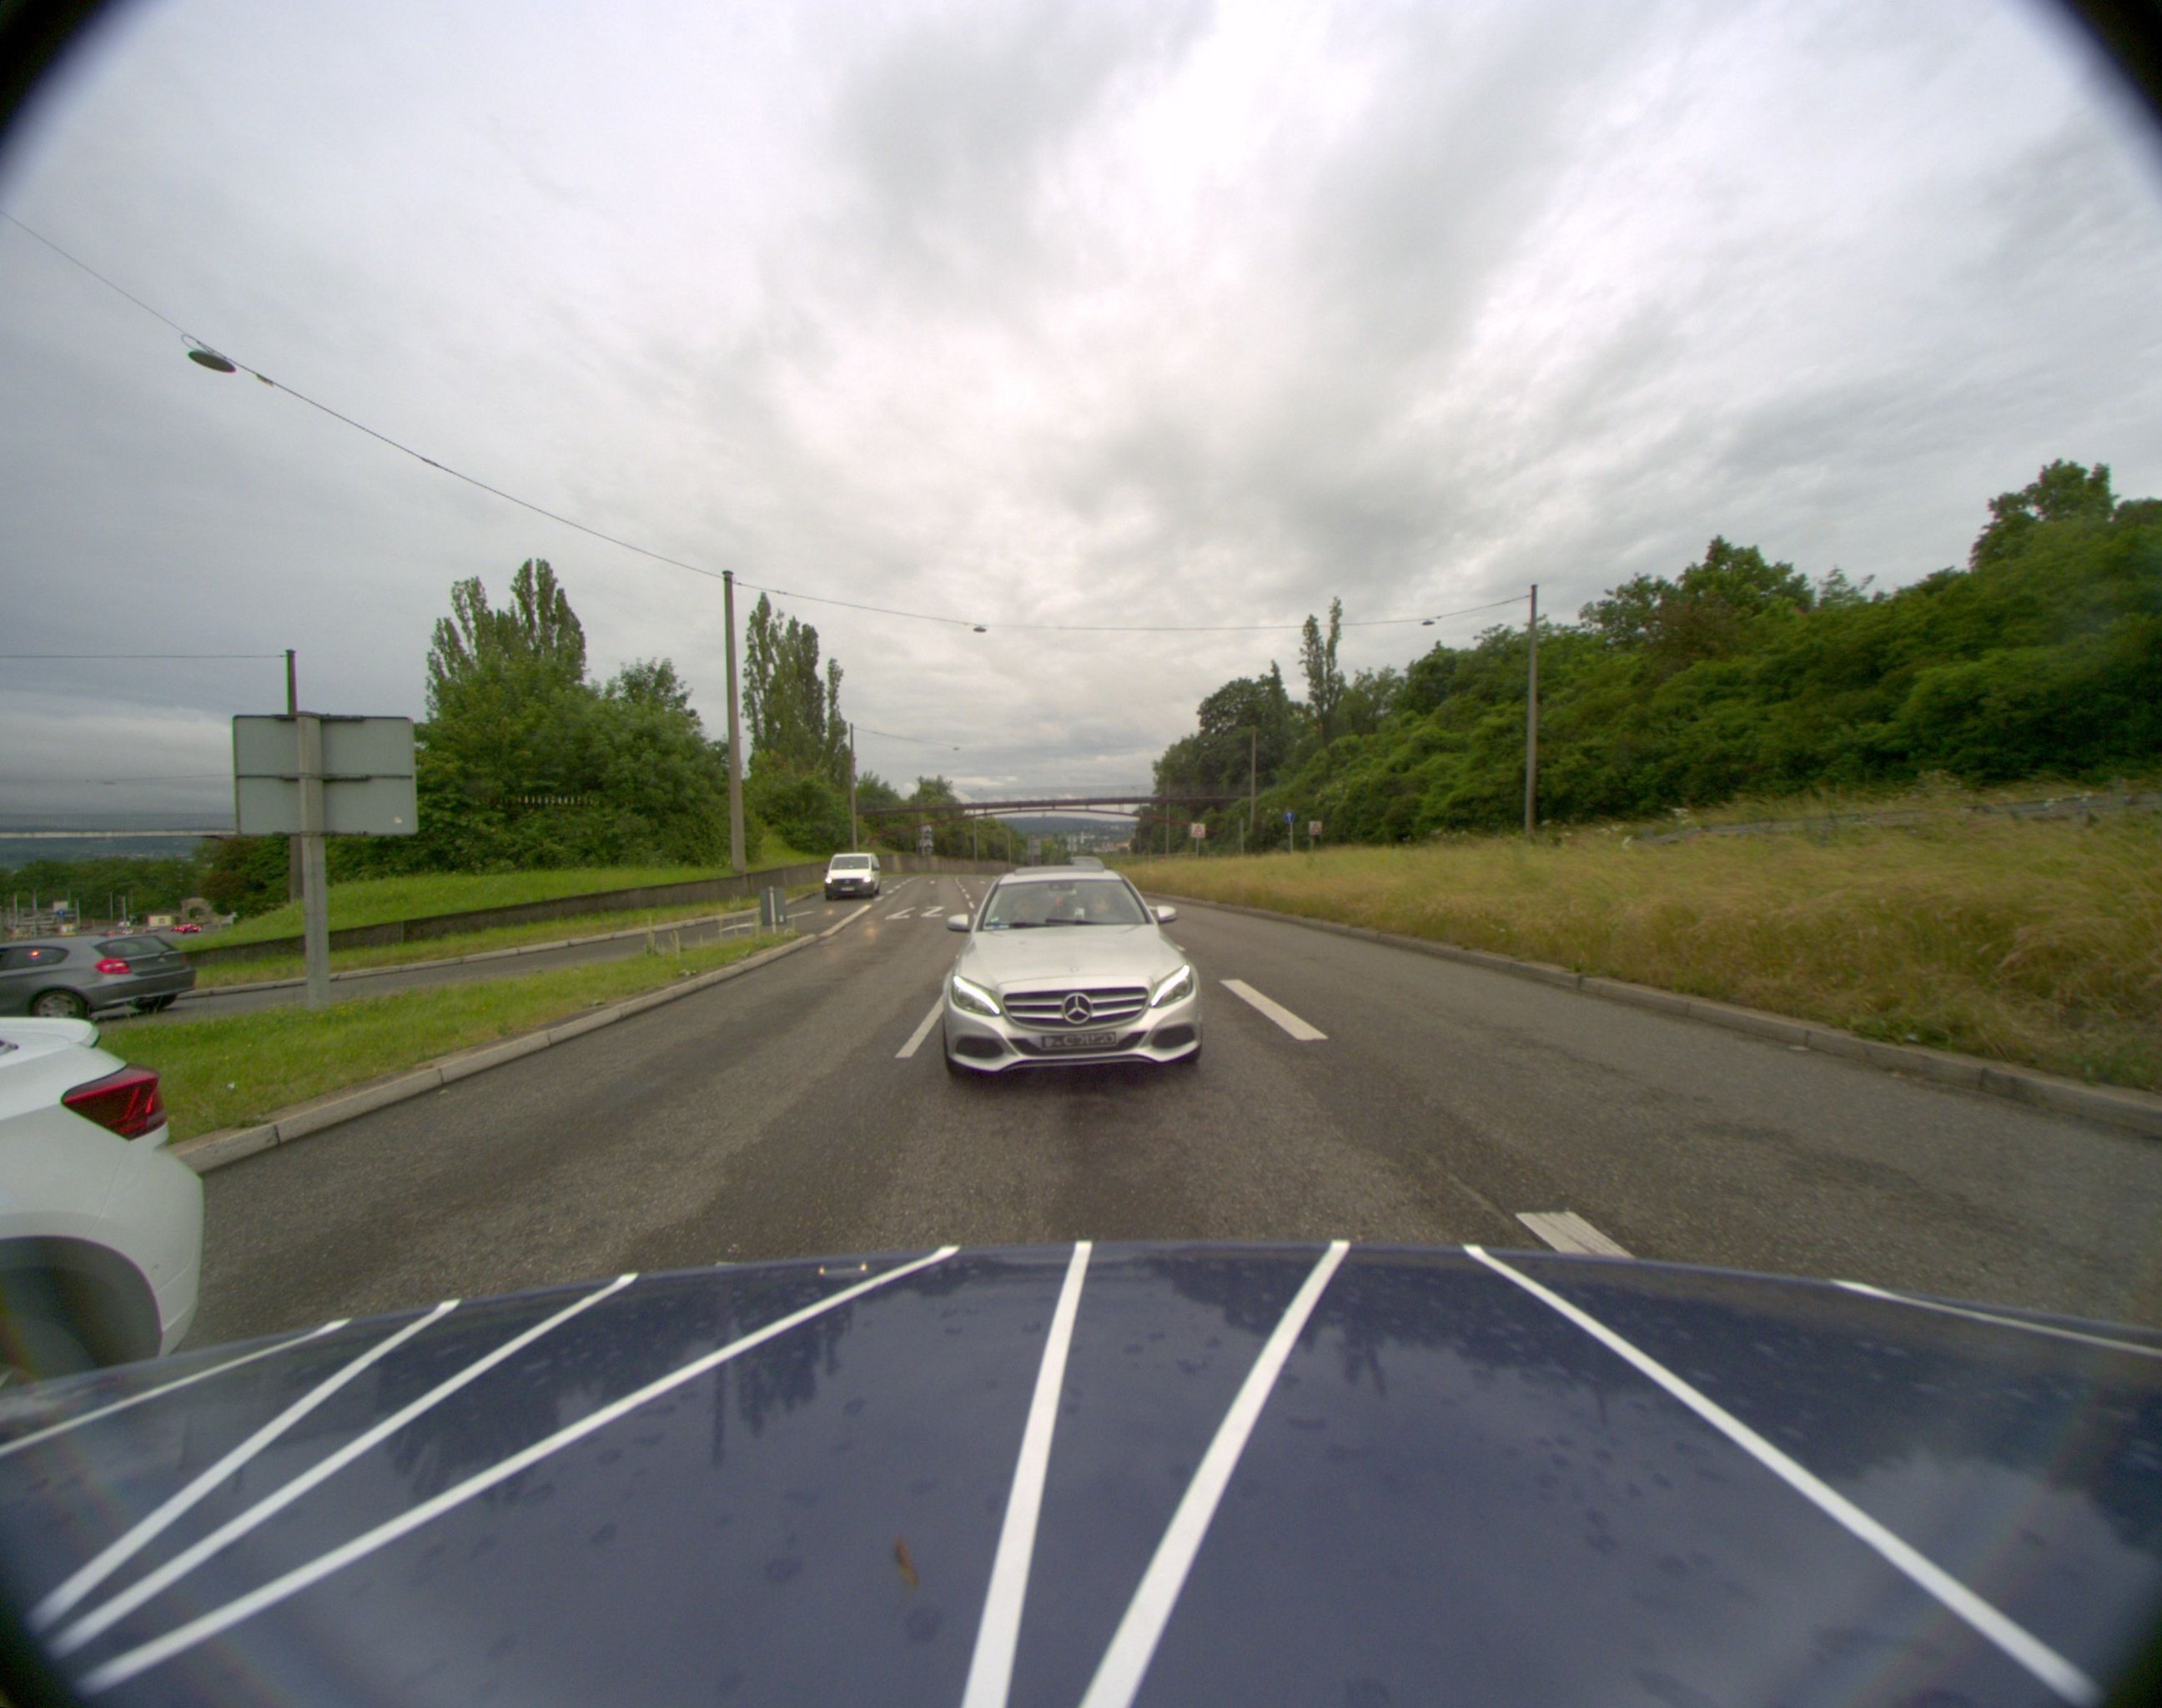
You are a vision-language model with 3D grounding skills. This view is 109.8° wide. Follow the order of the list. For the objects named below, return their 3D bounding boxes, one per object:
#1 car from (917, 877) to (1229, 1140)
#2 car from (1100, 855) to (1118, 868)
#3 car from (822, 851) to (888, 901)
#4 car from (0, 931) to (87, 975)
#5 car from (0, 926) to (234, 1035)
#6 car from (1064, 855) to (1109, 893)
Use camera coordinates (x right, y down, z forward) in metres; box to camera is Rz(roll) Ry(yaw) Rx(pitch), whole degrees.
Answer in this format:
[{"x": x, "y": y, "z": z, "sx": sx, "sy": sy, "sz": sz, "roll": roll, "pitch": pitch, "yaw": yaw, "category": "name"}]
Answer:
[{"x": -0.217, "y": 1.003, "z": 6.751, "sx": 1.895, "sy": 1.360, "sz": 4.132, "roll": -2, "pitch": 1, "yaw": -5, "category": "car"}, {"x": 3.449, "y": 0.883, "z": 93.544, "sx": 1.999, "sy": 1.445, "sz": 4.284, "roll": -2, "pitch": 1, "yaw": -1, "category": "car"}, {"x": -9.513, "y": 0.856, "z": 32.364, "sx": 2.000, "sy": 1.838, "sz": 4.818, "roll": -3, "pitch": 1, "yaw": -10, "category": "car"}, {"x": -47.120, "y": 4.421, "z": 34.303, "sx": 1.703, "sy": 1.467, "sz": 4.281, "roll": -3, "pitch": 1, "yaw": -39, "category": "car"}, {"x": -16.981, "y": 2.077, "z": 12.287, "sx": 4.083, "sy": 1.412, "sz": 1.683, "roll": -3, "pitch": 0, "yaw": -15, "category": "car"}, {"x": 0.195, "y": 0.862, "z": 33.153, "sx": 1.646, "sy": 1.495, "sz": 3.777, "roll": -2, "pitch": -1, "yaw": -4, "category": "car"}]
